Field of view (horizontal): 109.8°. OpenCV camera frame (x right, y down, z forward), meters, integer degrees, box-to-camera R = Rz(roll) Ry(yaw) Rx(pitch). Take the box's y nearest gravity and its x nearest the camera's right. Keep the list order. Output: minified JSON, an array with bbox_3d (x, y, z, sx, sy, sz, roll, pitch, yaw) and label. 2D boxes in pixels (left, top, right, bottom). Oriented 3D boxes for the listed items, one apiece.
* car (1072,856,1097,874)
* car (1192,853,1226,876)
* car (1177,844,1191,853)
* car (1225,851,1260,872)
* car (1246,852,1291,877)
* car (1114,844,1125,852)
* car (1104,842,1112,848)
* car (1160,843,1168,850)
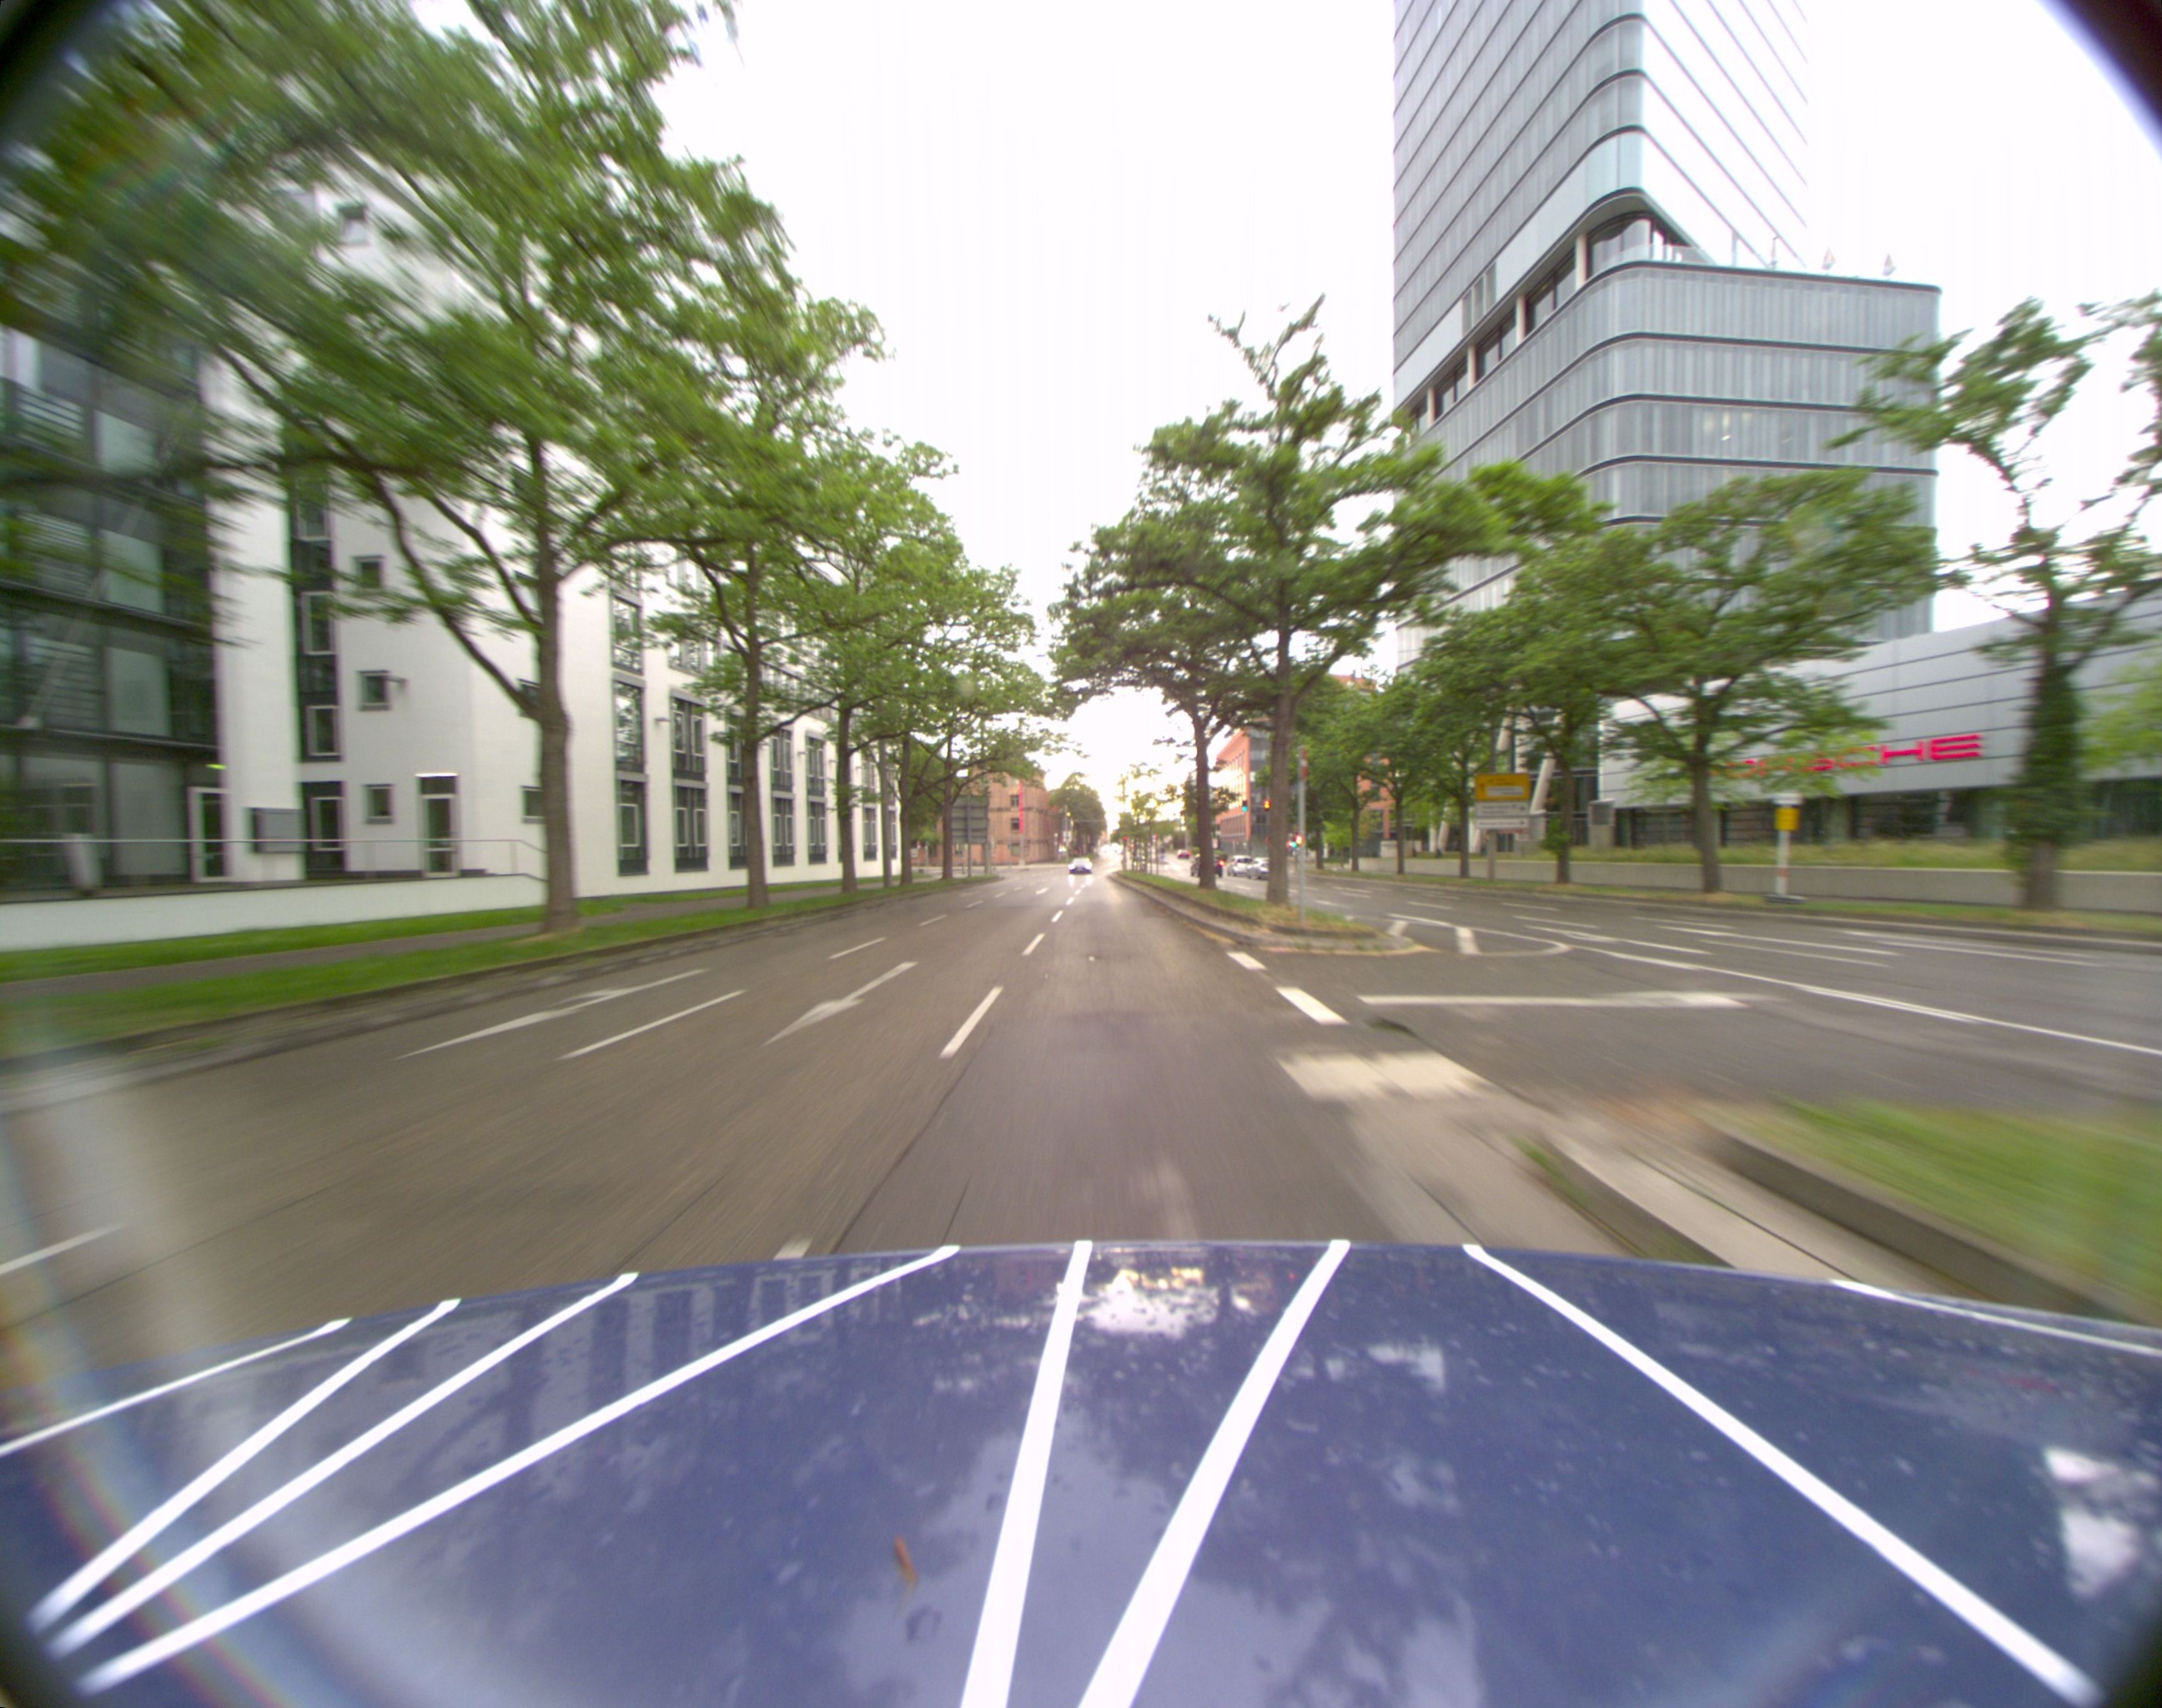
[{"bbox_3d":[0.353,0.948,66.483,1.878,1.346,4.332,-3,1,3],"label":"car"},{"bbox_3d":[9.324,0.733,55.736,1.846,1.581,4.173,0,1,0],"label":"car"},{"bbox_3d":[17.395,-0.905,128.418,1.783,1.445,3.999,-3,1,0],"label":"car"},{"bbox_3d":[12.338,0.571,58.394,1.783,1.445,3.999,-3,1,0],"label":"car"},{"bbox_3d":[12.195,0.676,49.702,1.894,1.445,3.999,-3,1,0],"label":"car"},{"bbox_3d":[8.013,-1.244,157.798,1.998,1.674,4.000,-1,0,0],"label":"car"},{"bbox_3d":[7.034,-2.345,200.907,1.998,1.575,4.001,-1,-1,4],"label":"car"},{"bbox_3d":[18.506,-1.607,168.999,1.782,1.445,4.001,-3,1,6],"label":"car"}]
